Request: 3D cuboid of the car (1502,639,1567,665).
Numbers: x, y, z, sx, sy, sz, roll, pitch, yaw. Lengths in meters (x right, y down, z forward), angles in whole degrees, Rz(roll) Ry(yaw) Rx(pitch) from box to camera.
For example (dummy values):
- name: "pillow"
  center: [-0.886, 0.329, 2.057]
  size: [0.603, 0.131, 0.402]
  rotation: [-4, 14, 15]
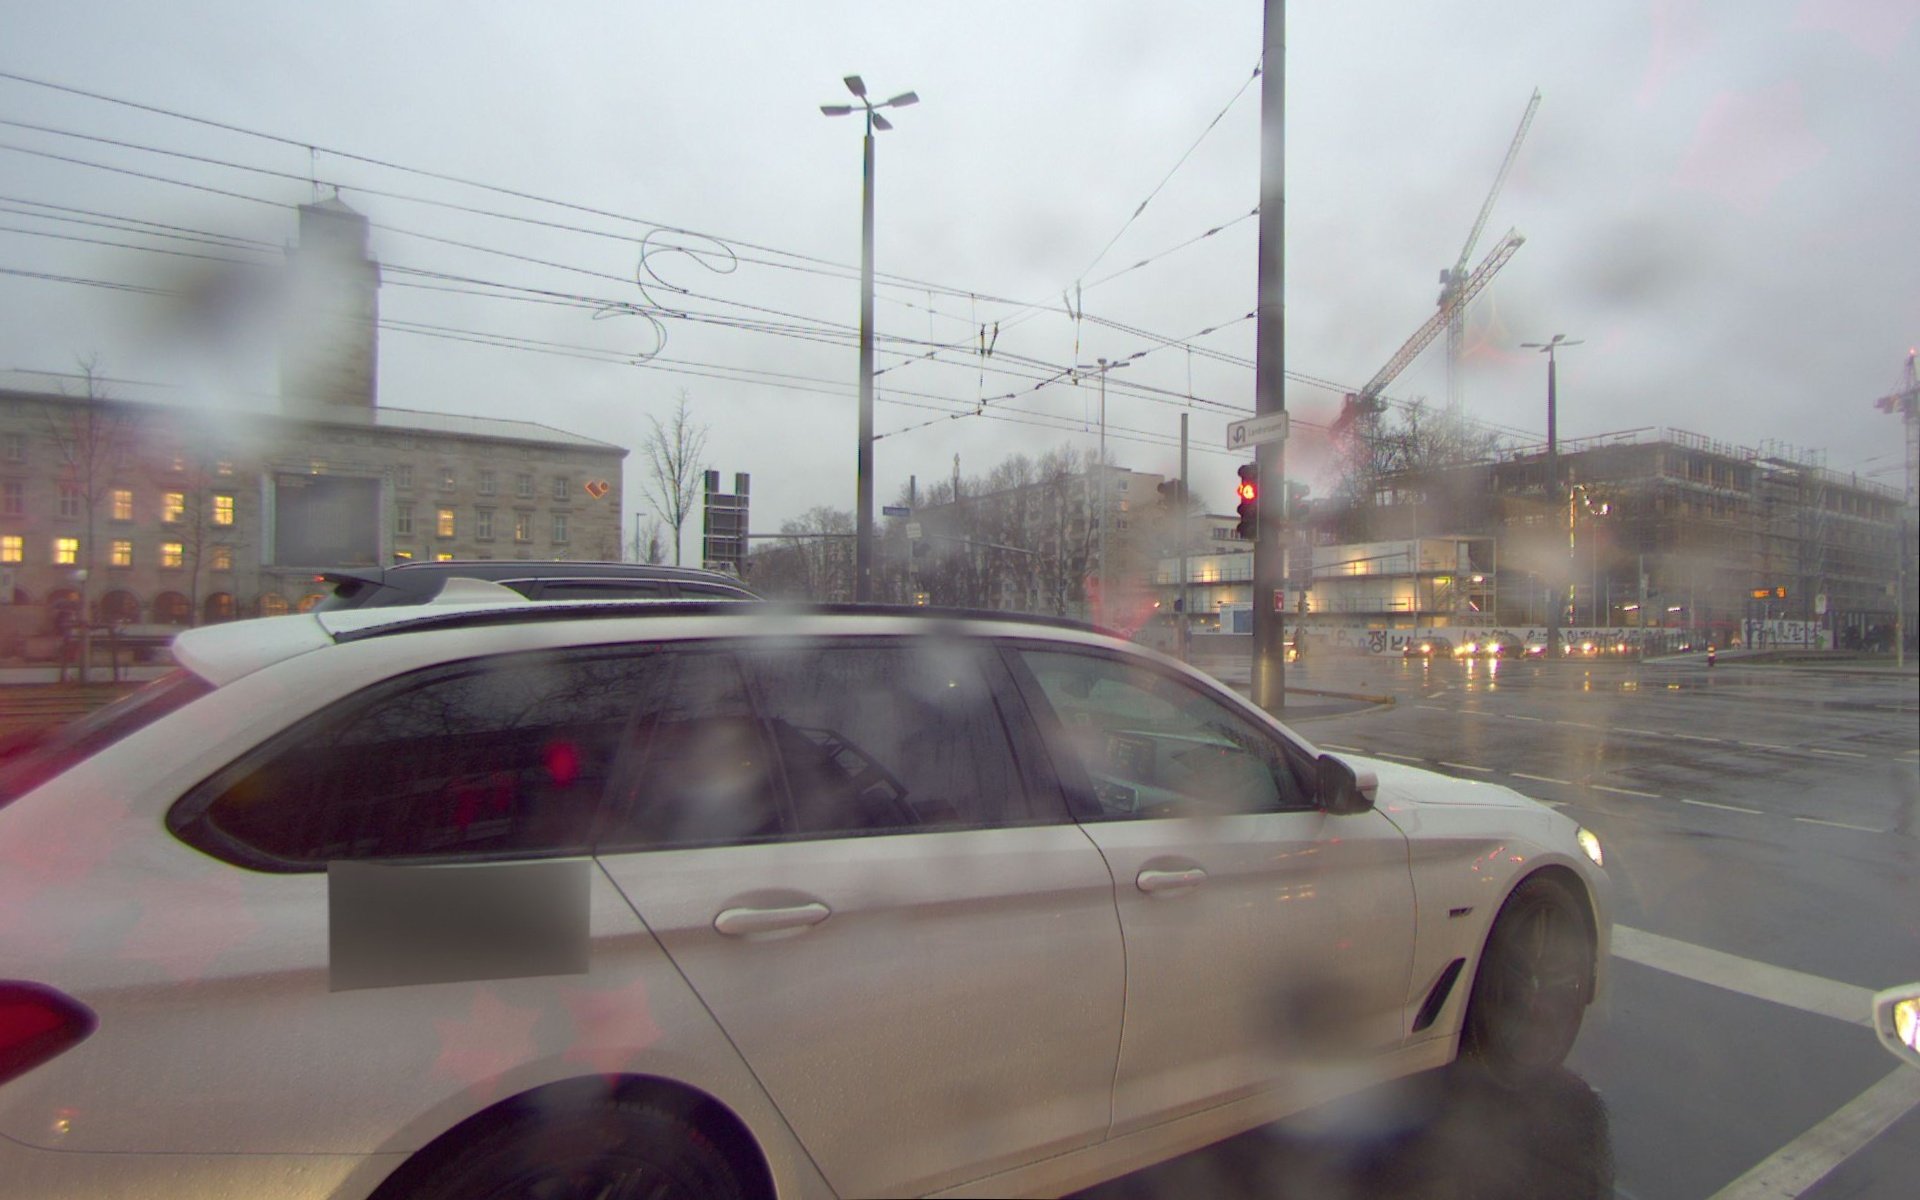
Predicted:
- name: "car"
  center: [35.879, 3.243, 62.717]
  size: [4.577, 1.550, 2.059]
  rotation: [2, -2, -40]

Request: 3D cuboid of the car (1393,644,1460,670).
- name: "car"
  center: [29.578, 3.586, 63.701]
  size: [3.953, 1.550, 1.984]
  rotation: [2, -2, -30]

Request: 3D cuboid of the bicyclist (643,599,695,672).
- name: "bicyclist"
  center: [-7.831, 0.945, 26.993]
  size: [1.147, 1.896, 0.739]
  rotation: [2, 0, -31]

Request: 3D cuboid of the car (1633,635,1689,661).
- name: "car"
  center: [51.515, 3.512, 73.805]
  size: [3.957, 1.814, 1.982]
  rotation: [2, 0, -33]

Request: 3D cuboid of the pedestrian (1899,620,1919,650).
- name: "pedestrian"
  center: [66.182, 2.419, 69.932]
  size: [1.084, 2.040, 0.935]
  rotation: [2, 0, -37]

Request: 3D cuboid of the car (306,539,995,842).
- name: "car"
  center: [-2.065, 0.552, 7.229]
  size: [4.238, 1.605, 1.958]
  rotation: [2, -1, -29]

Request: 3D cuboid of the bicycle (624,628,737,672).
- name: "bicycle"
  center: [-7.537, 1.350, 27.180]
  size: [2.832, 1.114, 0.739]
  rotation: [2, 0, -31]

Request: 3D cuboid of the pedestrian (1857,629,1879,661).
- name: "pedestrian"
  center: [55.856, 2.752, 61.766]
  size: [0.754, 1.922, 0.761]
  rotation: [3, -1, -30]

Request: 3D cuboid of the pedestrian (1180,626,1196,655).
- name: "pedestrian"
  center: [16.353, 2.887, 72.023]
  size: [0.737, 2.040, 0.783]
  rotation: [2, 0, -25]

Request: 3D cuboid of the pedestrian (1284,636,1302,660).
- name: "pedestrian"
  center: [20.465, 2.946, 61.663]
  size: [0.714, 1.407, 0.726]
  rotation: [2, 0, -24]

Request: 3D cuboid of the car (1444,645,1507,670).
- name: "car"
  center: [34.637, 3.847, 67.521]
  size: [3.953, 1.550, 1.984]
  rotation: [2, -2, -30]

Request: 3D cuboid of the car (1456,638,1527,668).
- name: "car"
  center: [31.305, 3.084, 59.154]
  size: [3.953, 1.679, 1.984]
  rotation: [2, -2, -30]

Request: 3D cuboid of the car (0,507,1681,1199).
- name: "car"
  center: [0.009, 0.706, 3.099]
  size: [4.508, 1.506, 2.007]
  rotation: [2, -2, -31]

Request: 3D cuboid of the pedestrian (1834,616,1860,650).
- name: "pedestrian"
  center: [55.359, 2.055, 62.688]
  size: [1.082, 2.040, 0.937]
  rotation: [2, 0, -32]

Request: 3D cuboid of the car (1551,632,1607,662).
- name: "car"
  center: [41.074, 3.120, 66.663]
  size: [3.963, 1.852, 1.852]
  rotation: [2, 0, -37]

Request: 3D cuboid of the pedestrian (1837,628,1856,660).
- name: "pedestrian"
  center: [54.366, 2.692, 61.627]
  size: [0.547, 1.906, 0.695]
  rotation: [2, 0, -30]

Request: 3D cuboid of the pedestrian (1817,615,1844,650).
- name: "pedestrian"
  center: [53.244, 1.985, 61.416]
  size: [1.082, 2.040, 0.937]
  rotation: [2, 0, -32]

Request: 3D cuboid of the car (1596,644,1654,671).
- name: "car"
  center: [46.897, 4.033, 70.799]
  size: [3.957, 1.814, 1.982]
  rotation: [2, 0, -33]

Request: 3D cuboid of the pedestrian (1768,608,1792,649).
- name: "pedestrian"
  center: [47.242, 1.632, 57.865]
  size: [0.754, 2.354, 0.761]
  rotation: [3, -1, -30]

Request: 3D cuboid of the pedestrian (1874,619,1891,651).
- name: "pedestrian"
  center: [57.920, 2.191, 63.058]
  size: [0.659, 1.994, 0.566]
  rotation: [2, 1, -36]
